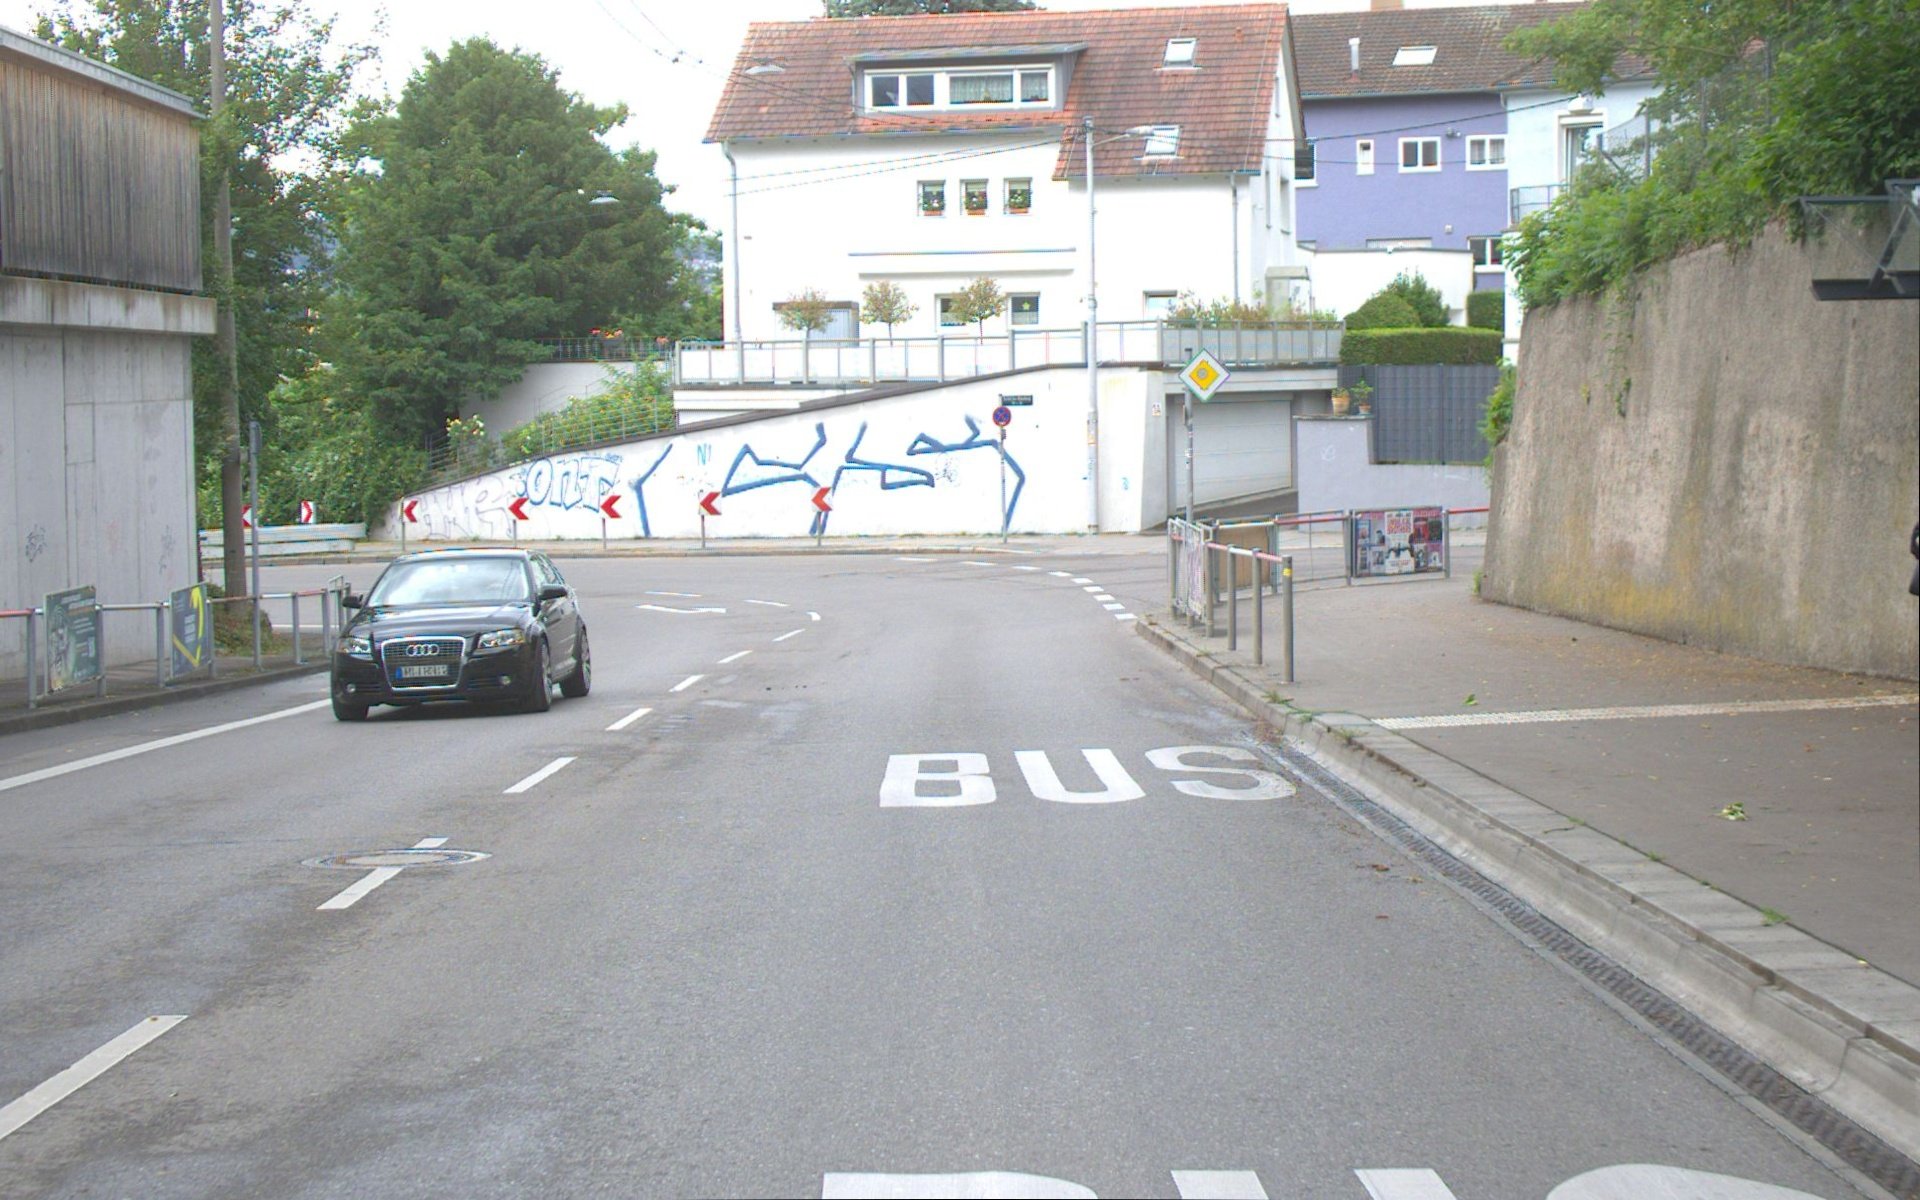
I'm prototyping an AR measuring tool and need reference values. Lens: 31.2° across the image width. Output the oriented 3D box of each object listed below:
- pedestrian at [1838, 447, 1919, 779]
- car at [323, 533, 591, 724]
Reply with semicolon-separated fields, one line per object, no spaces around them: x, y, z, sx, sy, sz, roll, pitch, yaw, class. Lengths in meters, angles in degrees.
4.810;0.045;16.710;0.737;1.582;0.771;-1;3;41;pedestrian
-4.324;0.200;30.092;1.735;1.527;4.000;-1;1;0;car
